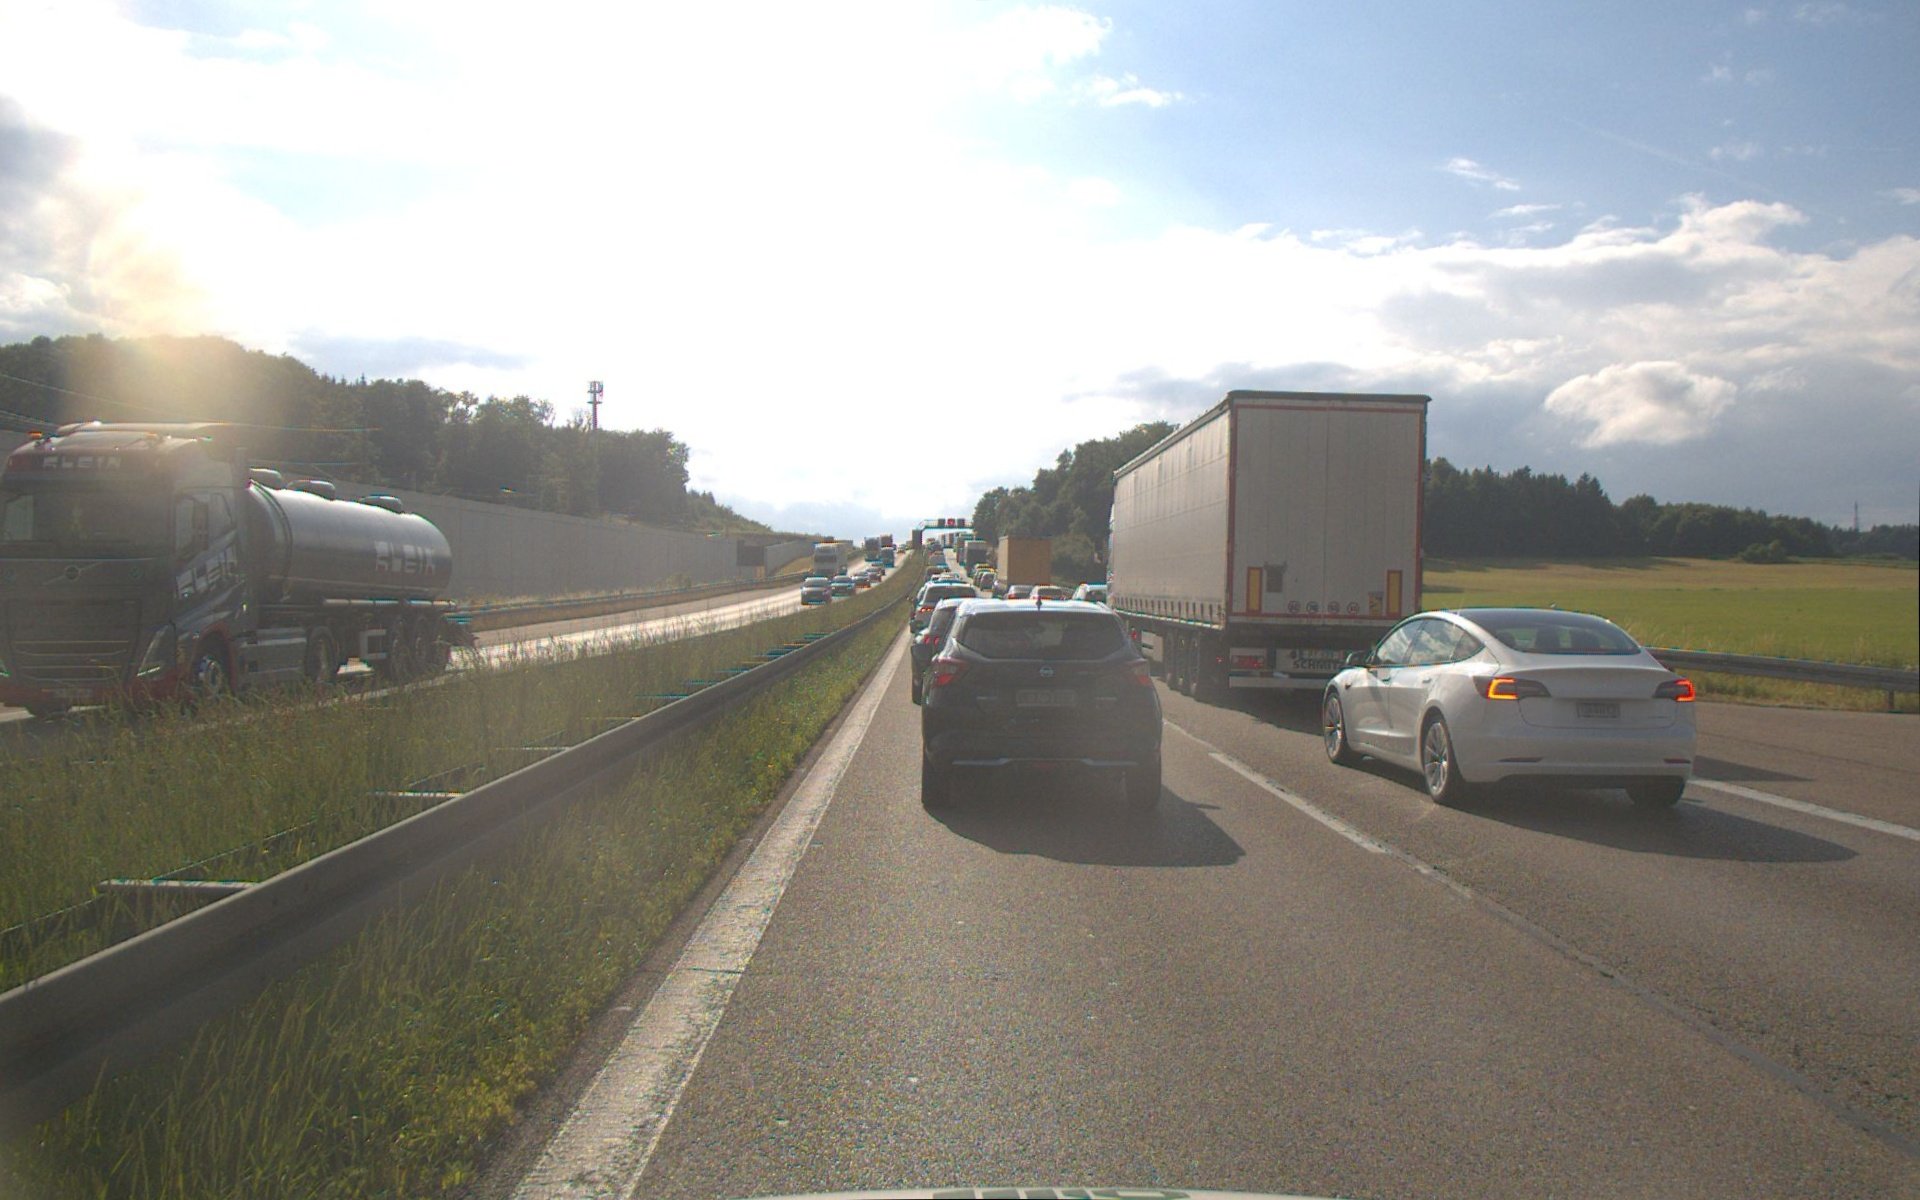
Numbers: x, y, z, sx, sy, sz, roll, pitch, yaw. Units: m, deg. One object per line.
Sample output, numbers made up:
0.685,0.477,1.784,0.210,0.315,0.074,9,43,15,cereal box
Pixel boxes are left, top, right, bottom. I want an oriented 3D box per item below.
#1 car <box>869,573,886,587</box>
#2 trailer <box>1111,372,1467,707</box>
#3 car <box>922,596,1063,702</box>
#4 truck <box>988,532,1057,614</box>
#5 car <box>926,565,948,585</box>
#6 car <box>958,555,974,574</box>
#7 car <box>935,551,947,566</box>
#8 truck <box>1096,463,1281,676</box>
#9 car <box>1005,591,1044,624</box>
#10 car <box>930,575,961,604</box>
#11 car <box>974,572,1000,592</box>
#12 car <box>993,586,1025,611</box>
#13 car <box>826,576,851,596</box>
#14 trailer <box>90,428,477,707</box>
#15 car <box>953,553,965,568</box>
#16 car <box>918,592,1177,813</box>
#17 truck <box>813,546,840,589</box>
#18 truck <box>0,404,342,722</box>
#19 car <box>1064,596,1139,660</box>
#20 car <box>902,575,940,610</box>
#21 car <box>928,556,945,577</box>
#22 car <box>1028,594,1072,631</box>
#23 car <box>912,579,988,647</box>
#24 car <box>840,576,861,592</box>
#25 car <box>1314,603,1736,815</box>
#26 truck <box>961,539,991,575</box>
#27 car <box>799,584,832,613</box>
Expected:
-8.786,-2.145,176.766,1.706,1.381,4.231,0,0,-1,car
4.672,-0.648,27.068,3.067,4.081,13.364,1,-1,0,trailer
0.405,0.644,23.742,1.835,1.381,4.231,0,0,-1,car
3.676,-1.498,100.763,3.230,4.657,12.435,1,-1,-2,truck
-2.007,-2.156,142.902,1.835,1.673,4.231,0,2,-2,car
0.766,-4.276,200.137,1.835,2.196,5.211,0,3,-1,car
-2.846,-6.296,251.954,1.835,2.196,5.211,0,3,-1,car
4.627,-0.557,34.524,3.069,4.086,5.163,1,-1,0,truck
3.383,0.386,87.307,1.835,1.673,4.232,0,1,-1,car
-0.893,-0.651,101.957,1.835,1.673,4.232,0,2,-1,car
2.322,-1.565,143.107,1.836,1.673,4.229,0,2,-4,car
3.282,-0.136,111.978,1.836,1.673,4.230,0,1,-3,car
-9.365,-1.071,127.803,1.663,1.525,4.426,0,0,-1,car
-11.336,-0.477,29.279,2.535,3.970,10.862,-1,0,-1,trailer
-0.190,-6.102,255.277,1.835,2.196,5.211,0,3,-1,car
0.566,0.687,13.193,1.737,1.476,4.231,0,0,-1,car
-13.516,-3.243,167.859,2.332,4.254,5.931,0,0,-1,truck
-11.214,-0.471,23.786,2.530,3.991,5.721,-1,0,-1,truck
3.758,0.713,44.587,1.663,1.639,4.437,0,0,0,car
-1.931,-0.393,82.473,1.835,1.673,4.232,0,1,-1,car
-2.678,-3.812,186.784,1.835,2.196,5.211,0,3,-1,car
4.205,0.585,77.807,1.835,1.673,4.231,0,0,-1,car
-0.267,0.324,42.551,1.835,1.673,4.231,0,0,-1,car
-10.356,-1.503,156.333,1.733,1.505,3.828,0,0,0,car
4.346,0.752,13.527,1.753,1.418,4.434,0,0,-3,car
2.127,-5.872,225.724,3.394,4.656,12.437,1,1,-2,truck
-9.119,-0.088,104.457,1.744,1.767,4.101,0,0,-1,car
